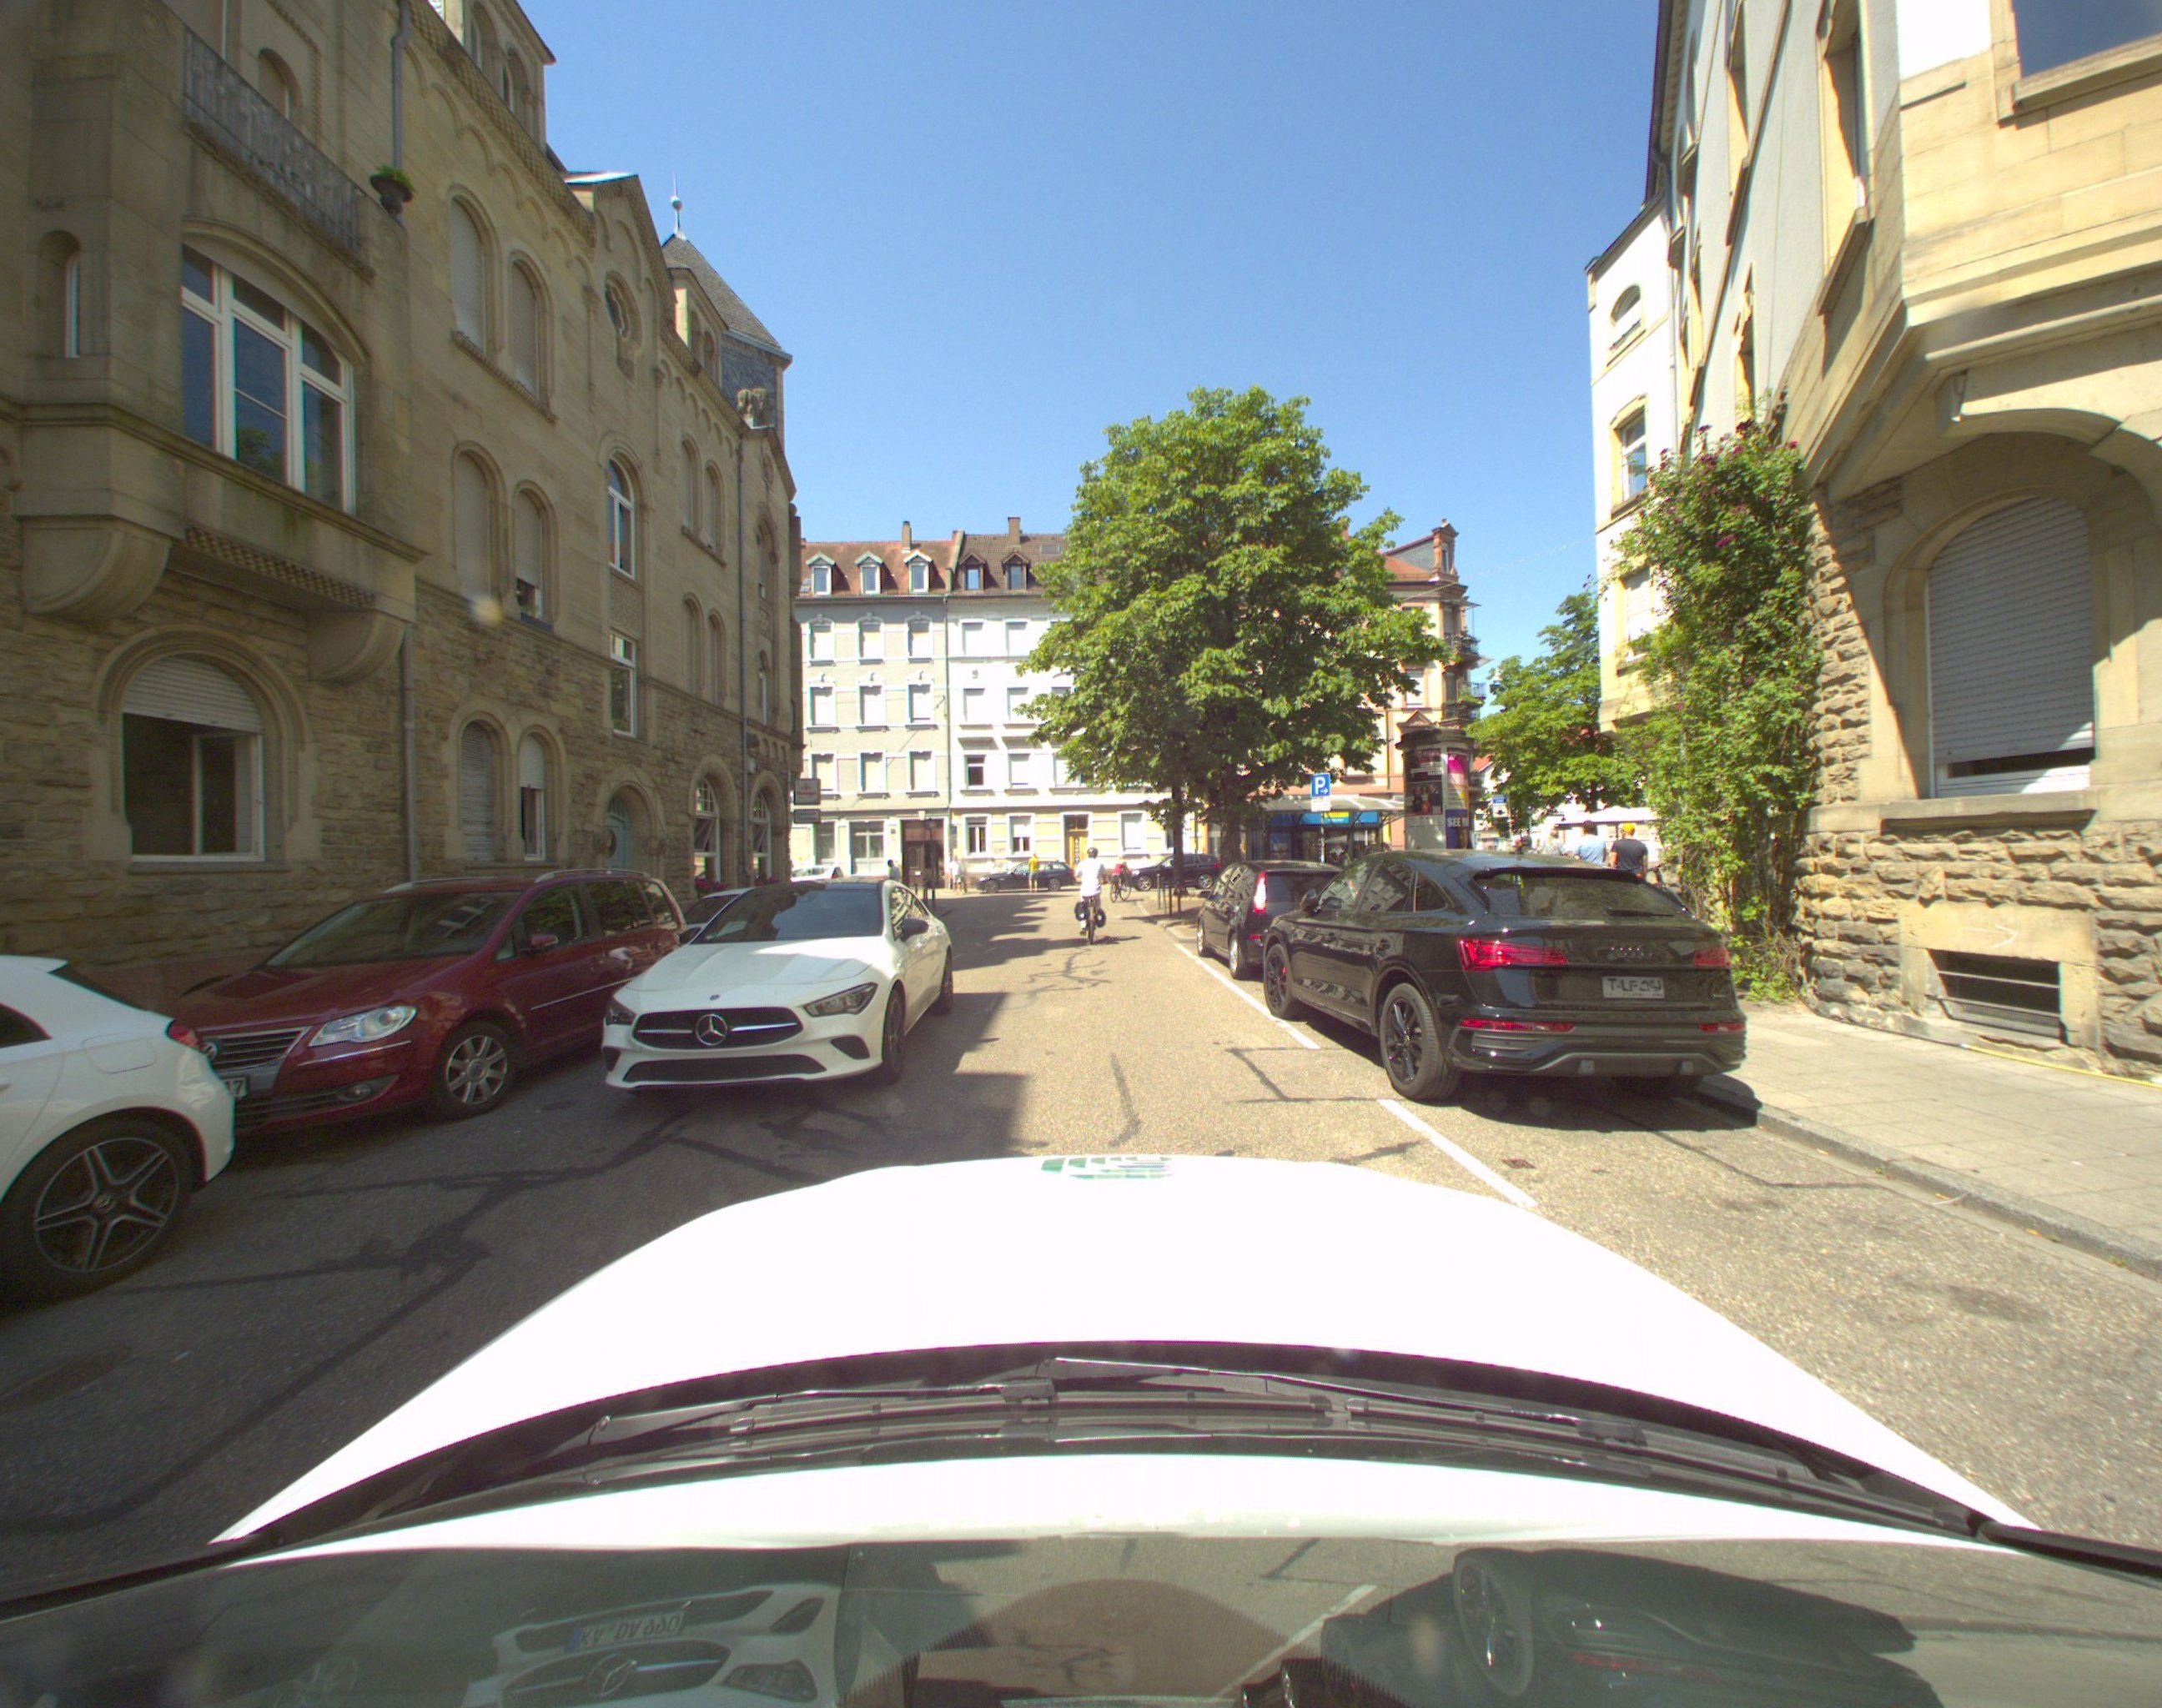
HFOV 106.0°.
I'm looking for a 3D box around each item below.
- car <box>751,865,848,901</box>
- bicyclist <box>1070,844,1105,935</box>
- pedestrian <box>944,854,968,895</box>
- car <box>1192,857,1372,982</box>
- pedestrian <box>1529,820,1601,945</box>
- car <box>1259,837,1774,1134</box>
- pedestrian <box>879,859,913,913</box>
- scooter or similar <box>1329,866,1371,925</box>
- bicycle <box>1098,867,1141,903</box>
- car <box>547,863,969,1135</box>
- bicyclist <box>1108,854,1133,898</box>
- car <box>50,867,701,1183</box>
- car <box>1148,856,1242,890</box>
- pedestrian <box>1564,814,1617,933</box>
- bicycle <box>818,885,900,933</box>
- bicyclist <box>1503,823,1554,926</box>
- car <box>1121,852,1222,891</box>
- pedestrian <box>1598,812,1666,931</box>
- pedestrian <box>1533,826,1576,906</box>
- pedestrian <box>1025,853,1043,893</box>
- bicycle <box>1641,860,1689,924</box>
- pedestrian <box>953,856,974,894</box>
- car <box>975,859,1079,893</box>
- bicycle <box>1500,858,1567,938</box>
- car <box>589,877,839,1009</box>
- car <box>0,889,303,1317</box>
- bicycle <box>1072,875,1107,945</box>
[{"bbox_3d":[-13.579,1.397,39.484,4.037,1.562,1.805,-2,-1,-3],"label":"car"},{"bbox_3d":[0.134,0.690,15.992,0.668,1.760,0.609,0,-1,0],"label":"bicyclist"},{"bbox_3d":[-5.962,0.977,38.848,0.844,1.889,0.938,-2,-1,10],"label":"pedestrian"},{"bbox_3d":[2.790,0.830,12.219,1.658,1.540,4.176,1,0,0],"label":"car"},{"bbox_3d":[7.073,0.408,11.916,0.636,1.752,0.615,-2,-1,2],"label":"pedestrian"},{"bbox_3d":[2.875,0.729,6.620,1.731,1.597,4.343,1,0,-3],"label":"car"},{"bbox_3d":[-5.882,1.010,25.948,0.855,1.672,0.774,-2,-1,-1],"label":"pedestrian"},{"bbox_3d":[5.507,0.838,16.649,0.437,1.136,1.193,-3,-1,36],"label":"scooter or similar"},{"bbox_3d":[1.387,1.060,28.896,0.646,1.209,2.455,0,-1,24],"label":"bicycle"},{"bbox_3d":[-2.198,0.874,6.978,1.836,1.461,4.360,-4,0,-1],"label":"car"},{"bbox_3d":[1.393,0.774,28.912,0.664,1.533,0.613,-2,-1,22],"label":"bicyclist"},{"bbox_3d":[-4.798,0.958,6.486,1.668,1.583,4.049,-4,0,-2],"label":"car"},{"bbox_3d":[5.491,0.899,39.617,4.282,1.370,1.806,-2,2,-1],"label":"car"},{"bbox_3d":[8.287,0.314,13.261,0.514,1.869,0.656,-2,-1,16],"label":"pedestrian"},{"bbox_3d":[-4.960,1.223,18.261,1.702,1.045,0.413,1,-1,-5],"label":"bicycle"},{"bbox_3d":[7.422,0.338,13.527,0.671,1.647,0.666,-2,-1,27],"label":"bicyclist"},{"bbox_3d":[3.965,0.759,36.048,4.211,1.519,1.806,-2,-1,-1],"label":"car"},{"bbox_3d":[9.021,0.280,13.362,0.595,1.880,0.886,-2,-1,13],"label":"pedestrian"},{"bbox_3d":[10.949,0.275,18.838,0.753,1.794,0.576,-1,-1,-39],"label":"pedestrian"},{"bbox_3d":[-2.210,0.878,38.354,0.725,1.853,0.682,-2,-1,-11],"label":"pedestrian"},{"bbox_3d":[10.437,0.651,14.585,0.542,1.039,1.849,-3,-1,32],"label":"bicycle"},{"bbox_3d":[-5.764,1.000,39.878,0.900,1.814,0.958,-2,-1,-6],"label":"pedestrian"},{"bbox_3d":[-2.567,1.045,39.577,4.845,1.437,1.999,-2,-1,-1],"label":"car"},{"bbox_3d":[7.500,0.678,13.594,0.786,1.169,2.593,-2,-1,26],"label":"bicycle"},{"bbox_3d":[-4.980,1.103,11.830,1.698,1.352,4.510,-4,0,-3],"label":"car"},{"bbox_3d":[-4.661,0.936,1.821,1.772,1.460,4.275,-4,0,-3],"label":"car"},{"bbox_3d":[0.163,1.048,16.095,0.649,1.228,2.441,0,0,0],"label":"bicycle"}]
